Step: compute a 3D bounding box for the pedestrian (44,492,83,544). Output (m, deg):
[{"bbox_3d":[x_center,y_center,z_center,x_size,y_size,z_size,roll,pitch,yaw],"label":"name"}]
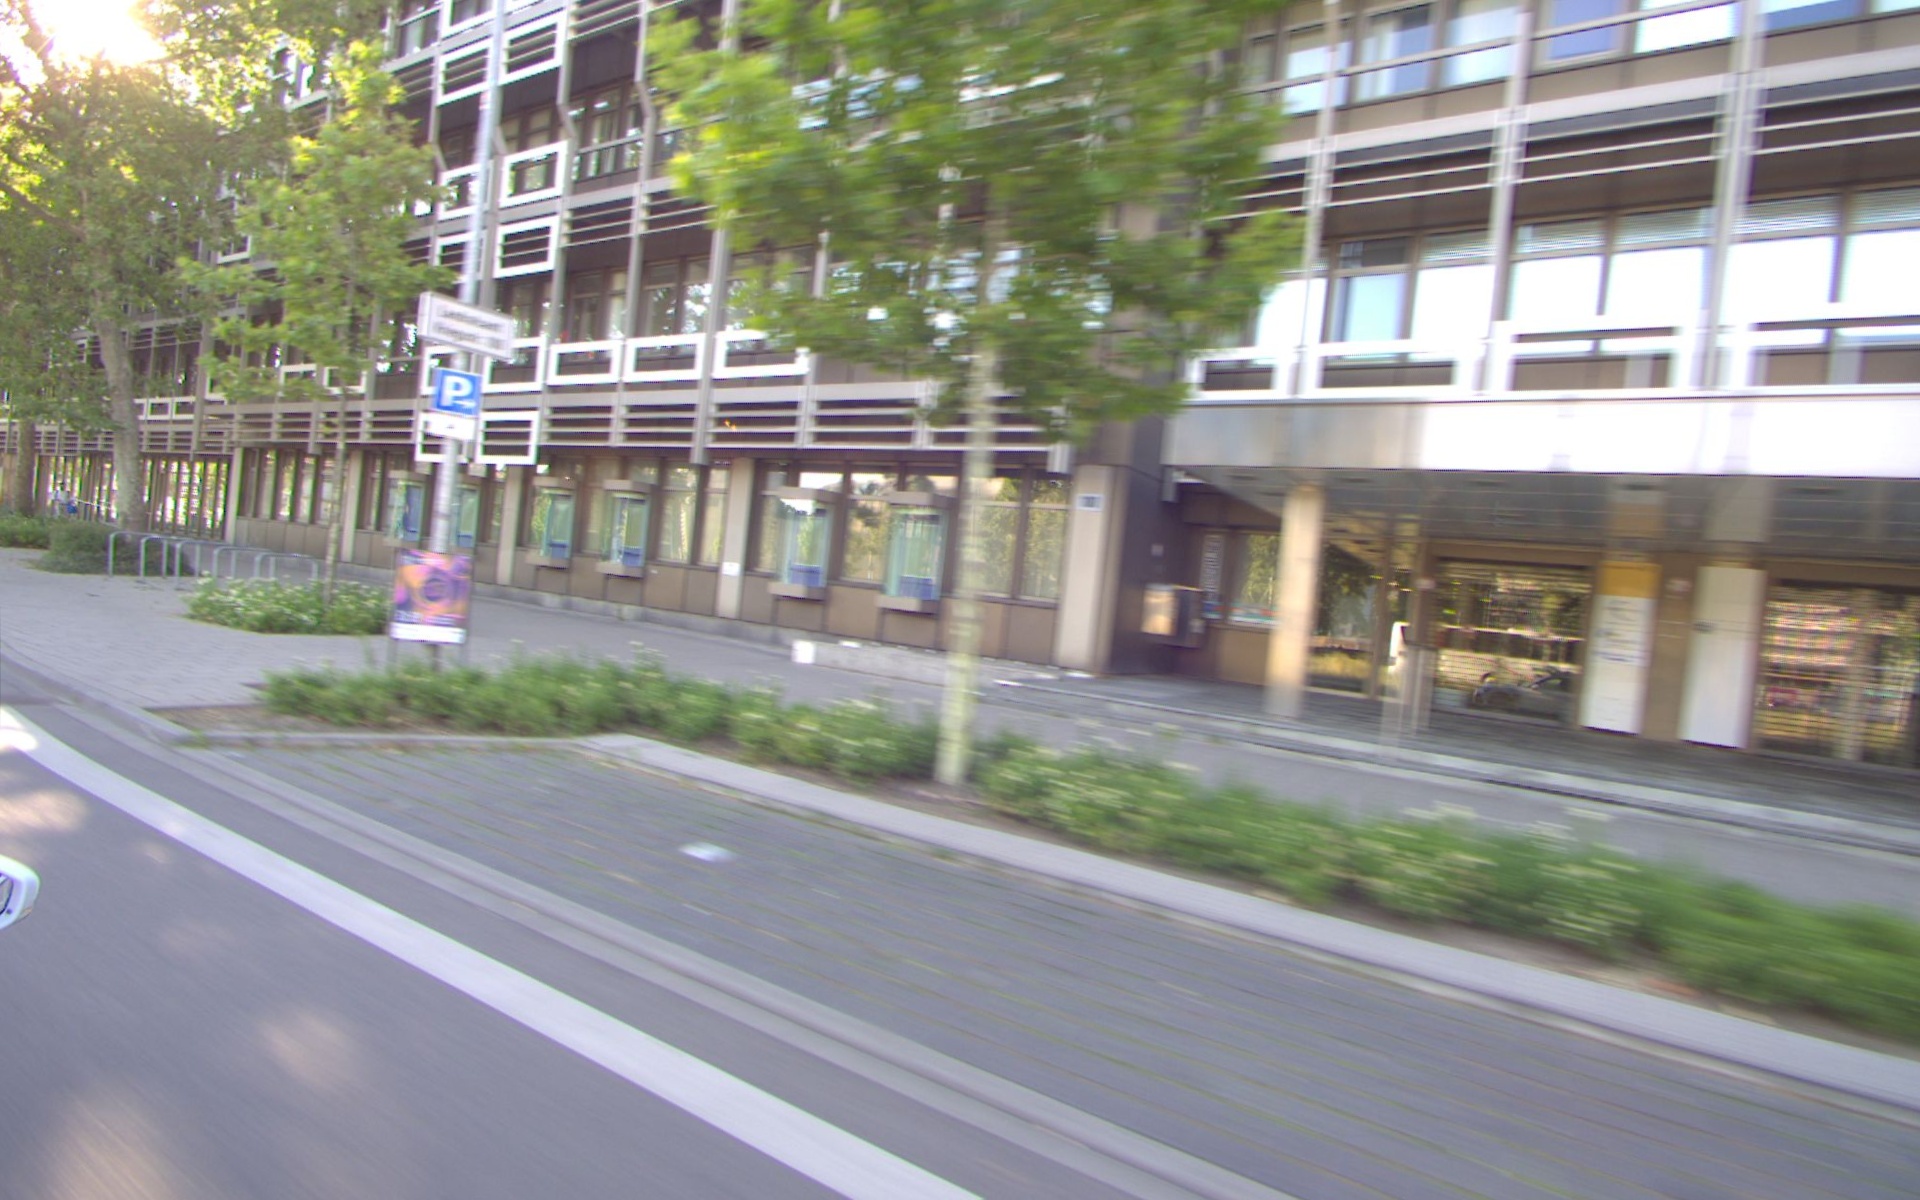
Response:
[{"bbox_3d":[-35.076,-3.218,39.377,0.833,1.879,0.832,7,1,33],"label":"pedestrian"}]
